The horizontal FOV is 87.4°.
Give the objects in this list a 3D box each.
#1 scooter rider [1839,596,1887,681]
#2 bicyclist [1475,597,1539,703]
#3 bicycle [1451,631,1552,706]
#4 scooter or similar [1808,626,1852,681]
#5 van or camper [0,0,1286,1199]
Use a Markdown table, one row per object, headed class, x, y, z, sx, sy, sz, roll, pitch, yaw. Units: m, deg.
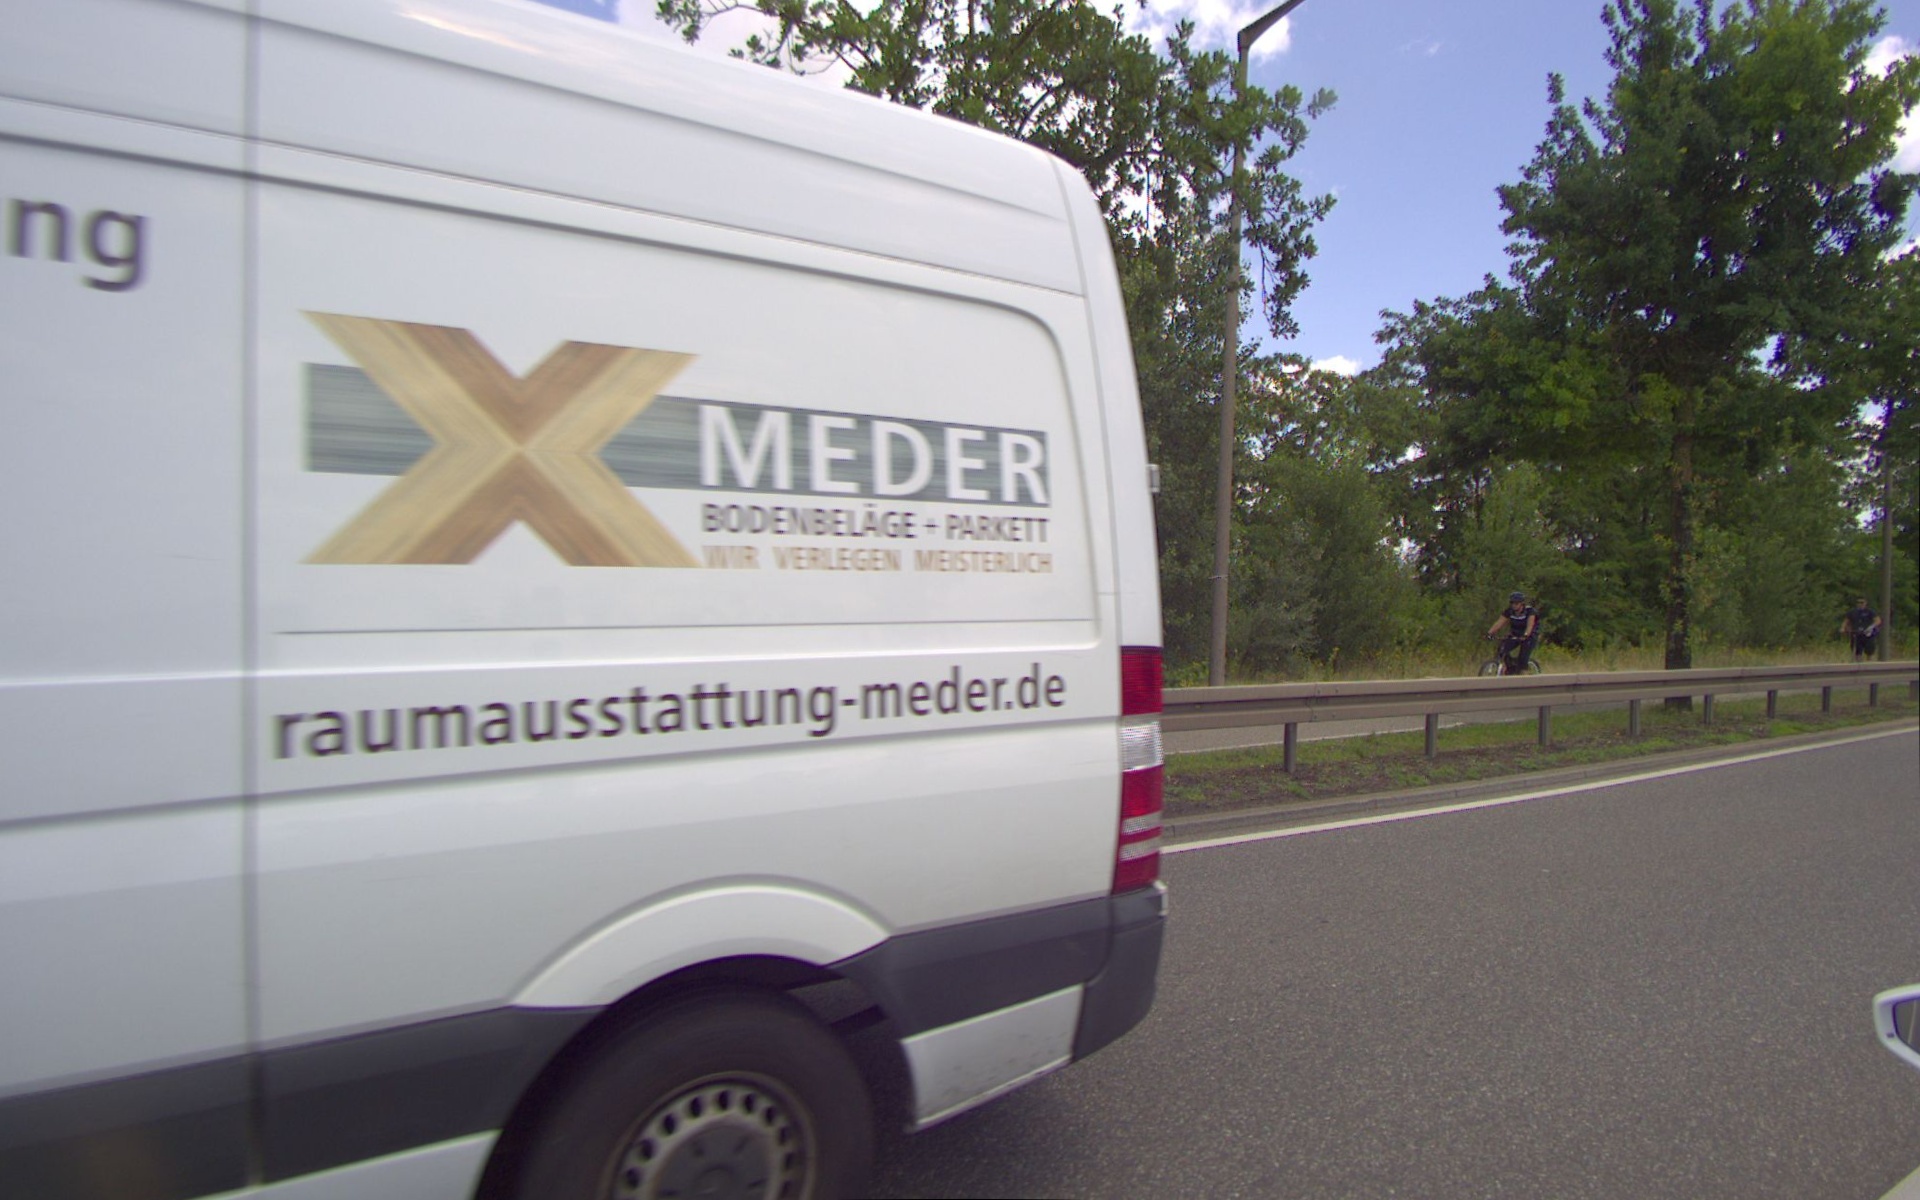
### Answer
| class | x | y | z | sx | sy | sz | roll | pitch | yaw |
| --- | --- | --- | --- | --- | --- | --- | --- | --- | --- |
| scooter rider | 20.336 | 0.861 | 22.618 | 0.612 | 1.881 | 0.658 | 1 | -1 | -32 |
| bicyclist | 8.326 | 0.749 | 15.285 | 0.870 | 1.573 | 0.482 | 1 | -1 | -32 |
| bicycle | 8.228 | 1.021 | 15.250 | 1.734 | 1.077 | 0.553 | 1 | -1 | -32 |
| scooter or similar | 19.913 | 1.210 | 23.001 | 0.553 | 1.223 | 0.631 | 0 | -1 | -33 |
| van or camper | -2.279 | 0.130 | 1.924 | 5.907 | 2.616 | 1.985 | 1 | 0 | -28 |
